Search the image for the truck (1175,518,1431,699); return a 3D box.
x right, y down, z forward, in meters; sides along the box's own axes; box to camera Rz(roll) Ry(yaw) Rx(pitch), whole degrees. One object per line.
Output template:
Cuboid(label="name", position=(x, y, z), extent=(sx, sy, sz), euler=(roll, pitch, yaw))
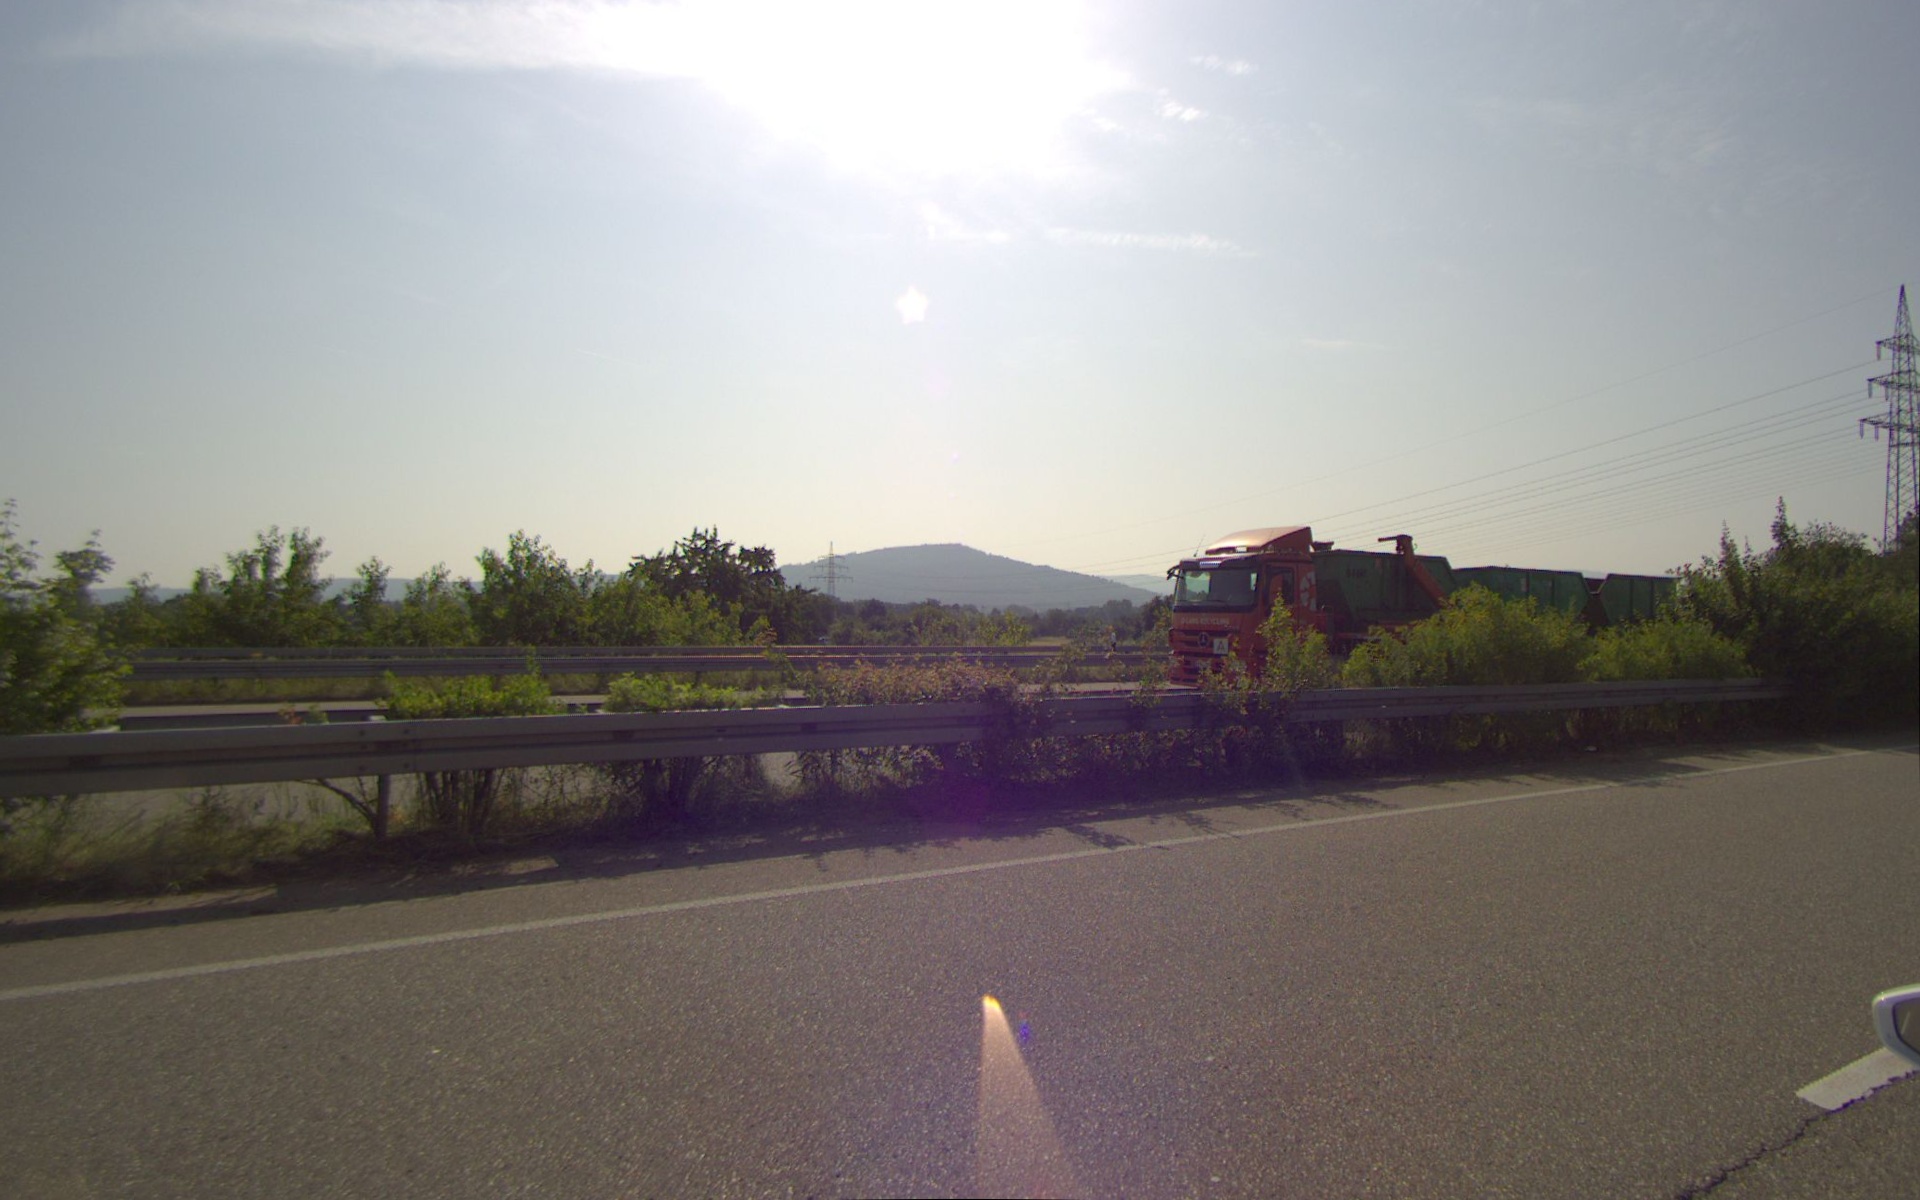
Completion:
Cuboid(label="truck", position=(7.324, 0.225, 21.236), extent=(5.563, 3.420, 1.983), euler=(2, -1, -31))

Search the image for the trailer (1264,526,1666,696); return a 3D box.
Cuboid(label="trailer", position=(12.876, 0.385, 24.597), extent=(13.272, 3.420, 1.983), euler=(2, -1, -31))
